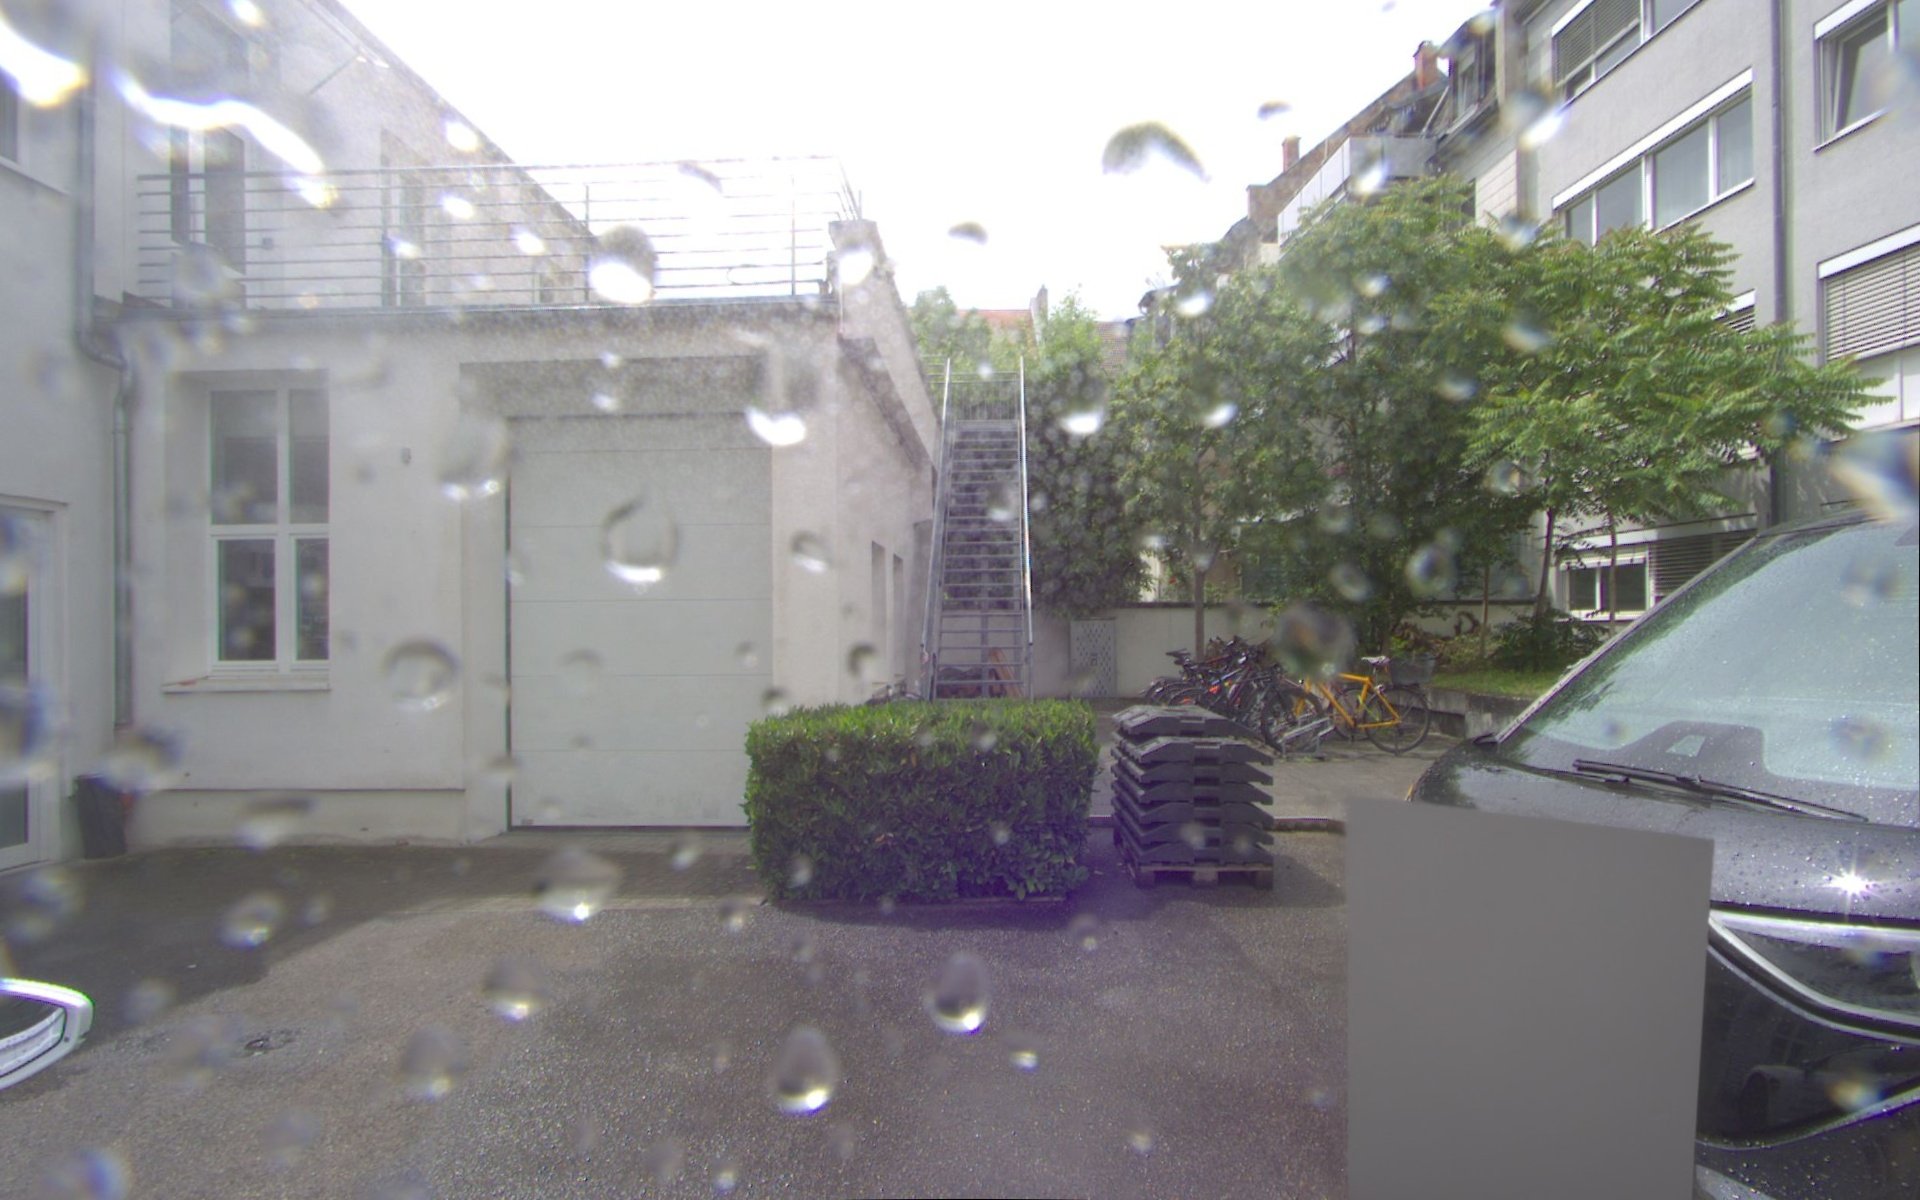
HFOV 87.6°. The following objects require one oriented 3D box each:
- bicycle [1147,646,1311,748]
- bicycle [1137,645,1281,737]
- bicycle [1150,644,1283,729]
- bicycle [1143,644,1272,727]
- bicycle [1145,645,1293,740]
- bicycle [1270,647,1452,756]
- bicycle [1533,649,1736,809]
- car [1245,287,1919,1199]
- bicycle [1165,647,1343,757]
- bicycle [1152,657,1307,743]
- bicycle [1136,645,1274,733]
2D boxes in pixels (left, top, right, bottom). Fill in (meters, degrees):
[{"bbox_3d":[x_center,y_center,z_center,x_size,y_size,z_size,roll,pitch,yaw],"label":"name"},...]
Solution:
[{"bbox_3d":[3.037,1.088,11.374,1.761,1.118,0.354,0,0,5],"label":"bicycle"},{"bbox_3d":[3.114,1.132,12.548,1.721,1.118,0.343,0,0,-3],"label":"bicycle"},{"bbox_3d":[3.466,1.167,13.569,1.721,1.118,0.355,0,0,-3],"label":"bicycle"},{"bbox_3d":[3.438,1.181,13.930,1.721,1.118,0.342,0,0,-3],"label":"bicycle"},{"bbox_3d":[3.149,1.118,12.198,1.721,1.118,0.333,0,0,-3],"label":"bicycle"},{"bbox_3d":[4.225,1.061,10.609,1.761,1.118,0.367,0,0,5],"label":"bicycle"},{"bbox_3d":[5.520,0.999,8.329,0.438,1.118,1.797,-3,-1,0],"label":"bicycle"},{"bbox_3d":[3.266,0.604,2.179,4.656,1.888,1.971,-1,-1,-4],"label":"car"},{"bbox_3d":[3.078,1.058,10.565,1.761,1.118,0.405,0,0,5],"label":"bicycle"},{"bbox_3d":[3.181,1.174,11.855,1.761,0.980,0.330,0,0,-3],"label":"bicycle"},{"bbox_3d":[3.180,1.149,13.036,1.721,1.118,0.346,0,0,-3],"label":"bicycle"}]
